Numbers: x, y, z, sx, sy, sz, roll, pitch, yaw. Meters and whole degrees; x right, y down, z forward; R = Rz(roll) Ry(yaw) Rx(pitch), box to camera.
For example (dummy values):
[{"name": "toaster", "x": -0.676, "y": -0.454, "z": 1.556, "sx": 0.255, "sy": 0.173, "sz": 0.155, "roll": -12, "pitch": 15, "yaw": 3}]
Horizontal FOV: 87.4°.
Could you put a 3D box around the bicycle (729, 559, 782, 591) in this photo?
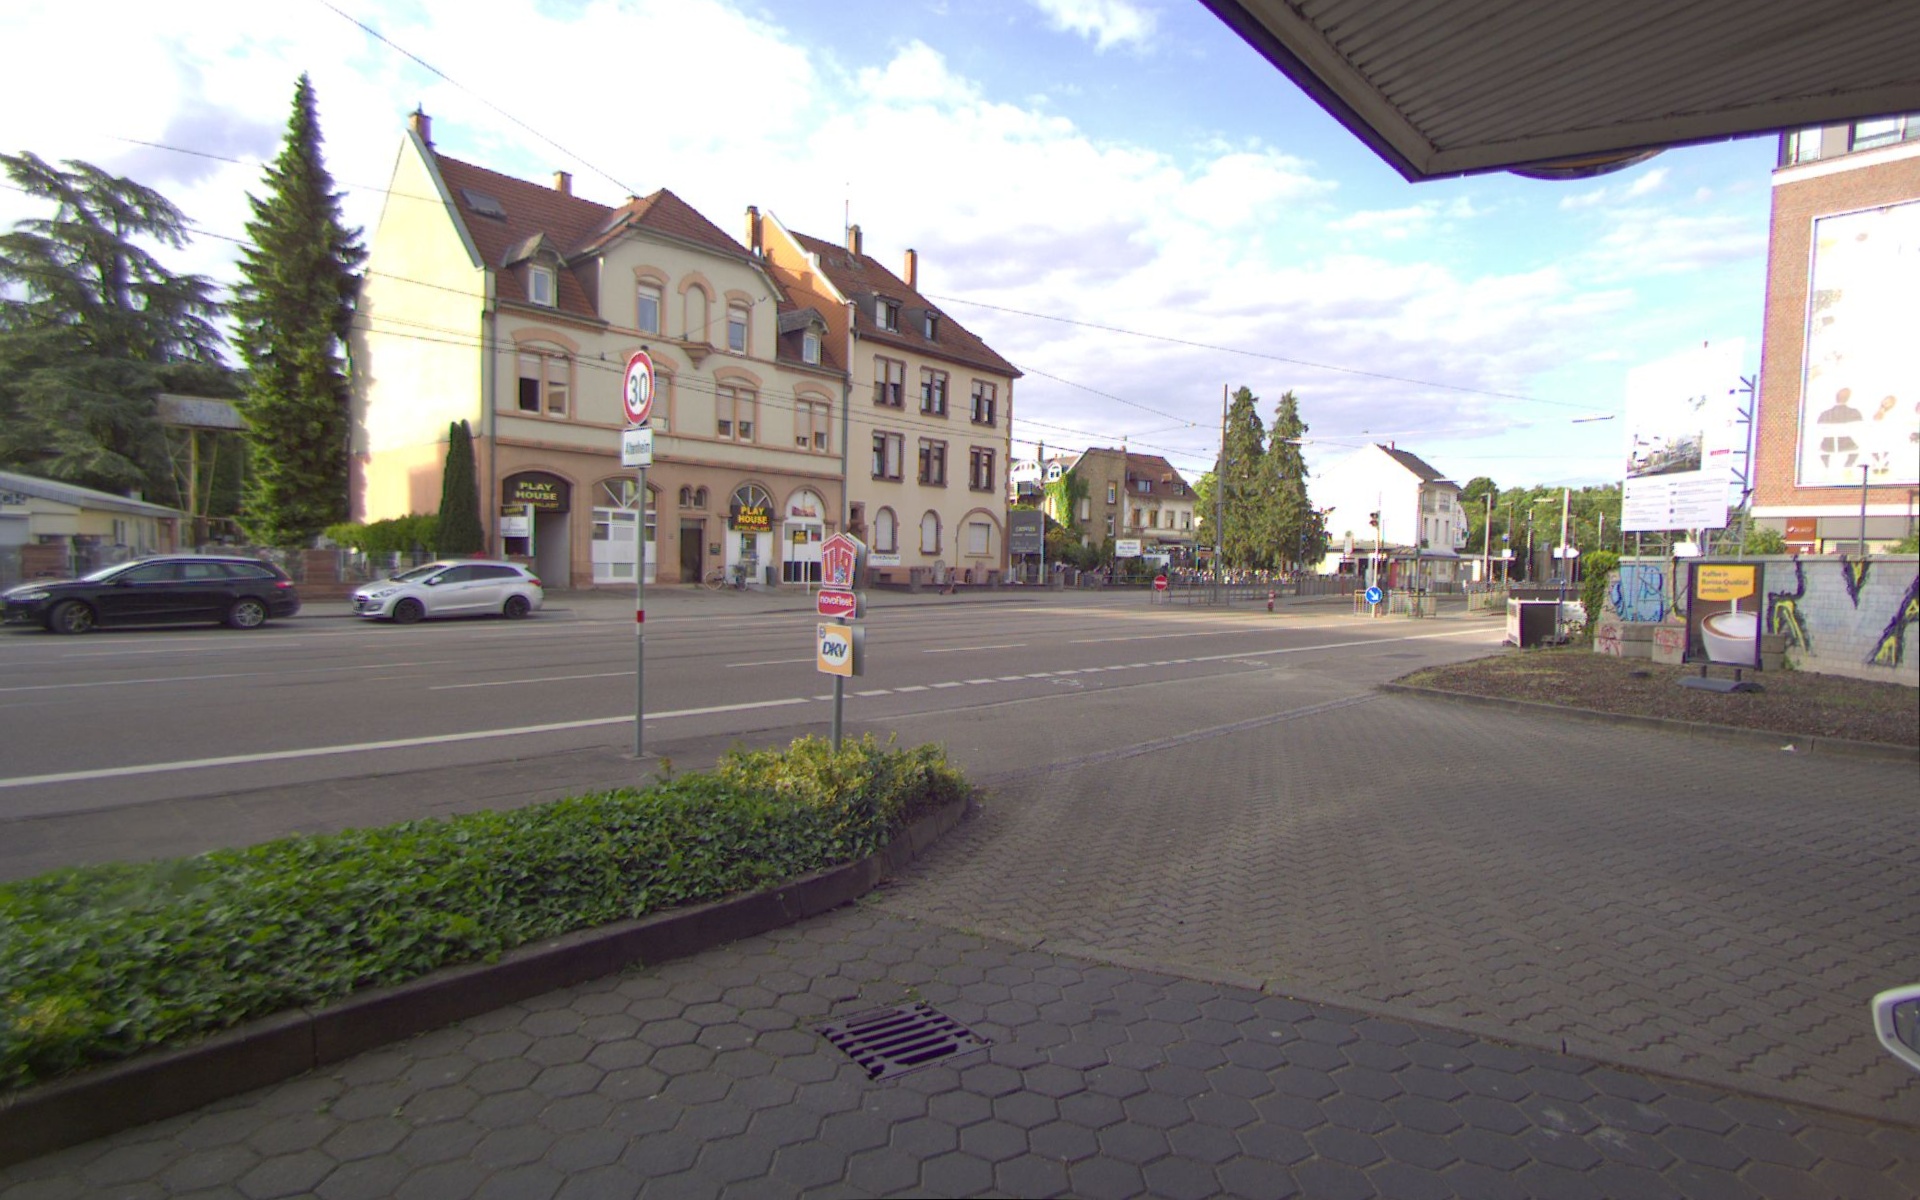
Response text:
[{"name": "bicycle", "x": -8.255, "y": -1.000, "z": 40.627, "sx": 0.741, "sy": 1.219, "sz": 2.011, "roll": 8, "pitch": 5, "yaw": 41}]

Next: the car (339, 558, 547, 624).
[{"name": "car", "x": -12.935, "y": -0.249, "z": 25.356, "sx": 1.718, "sy": 1.502, "sz": 4.357, "roll": 3, "pitch": 2, "yaw": 41}]

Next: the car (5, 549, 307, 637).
[{"name": "car", "x": -16.493, "y": -0.173, "z": 20.817, "sx": 1.827, "sy": 1.542, "sz": 4.642, "roll": 5, "pitch": 4, "yaw": 40}]

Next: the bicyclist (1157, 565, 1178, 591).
[{"name": "bicyclist", "x": 12.090, "y": -1.305, "z": 58.581, "sx": 0.741, "sy": 1.428, "sz": 0.917, "roll": 8, "pitch": 6, "yaw": 39}]

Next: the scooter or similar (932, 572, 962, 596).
[{"name": "scooter or similar", "x": -0.574, "y": -0.713, "z": 45.094, "sx": 0.437, "sy": 1.006, "sz": 1.460, "roll": 6, "pitch": 5, "yaw": 41}]

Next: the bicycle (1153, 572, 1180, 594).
[{"name": "bicycle", "x": 12.049, "y": -0.989, "z": 58.562, "sx": 0.741, "sy": 1.219, "sz": 1.812, "roll": 8, "pitch": 6, "yaw": 39}]
